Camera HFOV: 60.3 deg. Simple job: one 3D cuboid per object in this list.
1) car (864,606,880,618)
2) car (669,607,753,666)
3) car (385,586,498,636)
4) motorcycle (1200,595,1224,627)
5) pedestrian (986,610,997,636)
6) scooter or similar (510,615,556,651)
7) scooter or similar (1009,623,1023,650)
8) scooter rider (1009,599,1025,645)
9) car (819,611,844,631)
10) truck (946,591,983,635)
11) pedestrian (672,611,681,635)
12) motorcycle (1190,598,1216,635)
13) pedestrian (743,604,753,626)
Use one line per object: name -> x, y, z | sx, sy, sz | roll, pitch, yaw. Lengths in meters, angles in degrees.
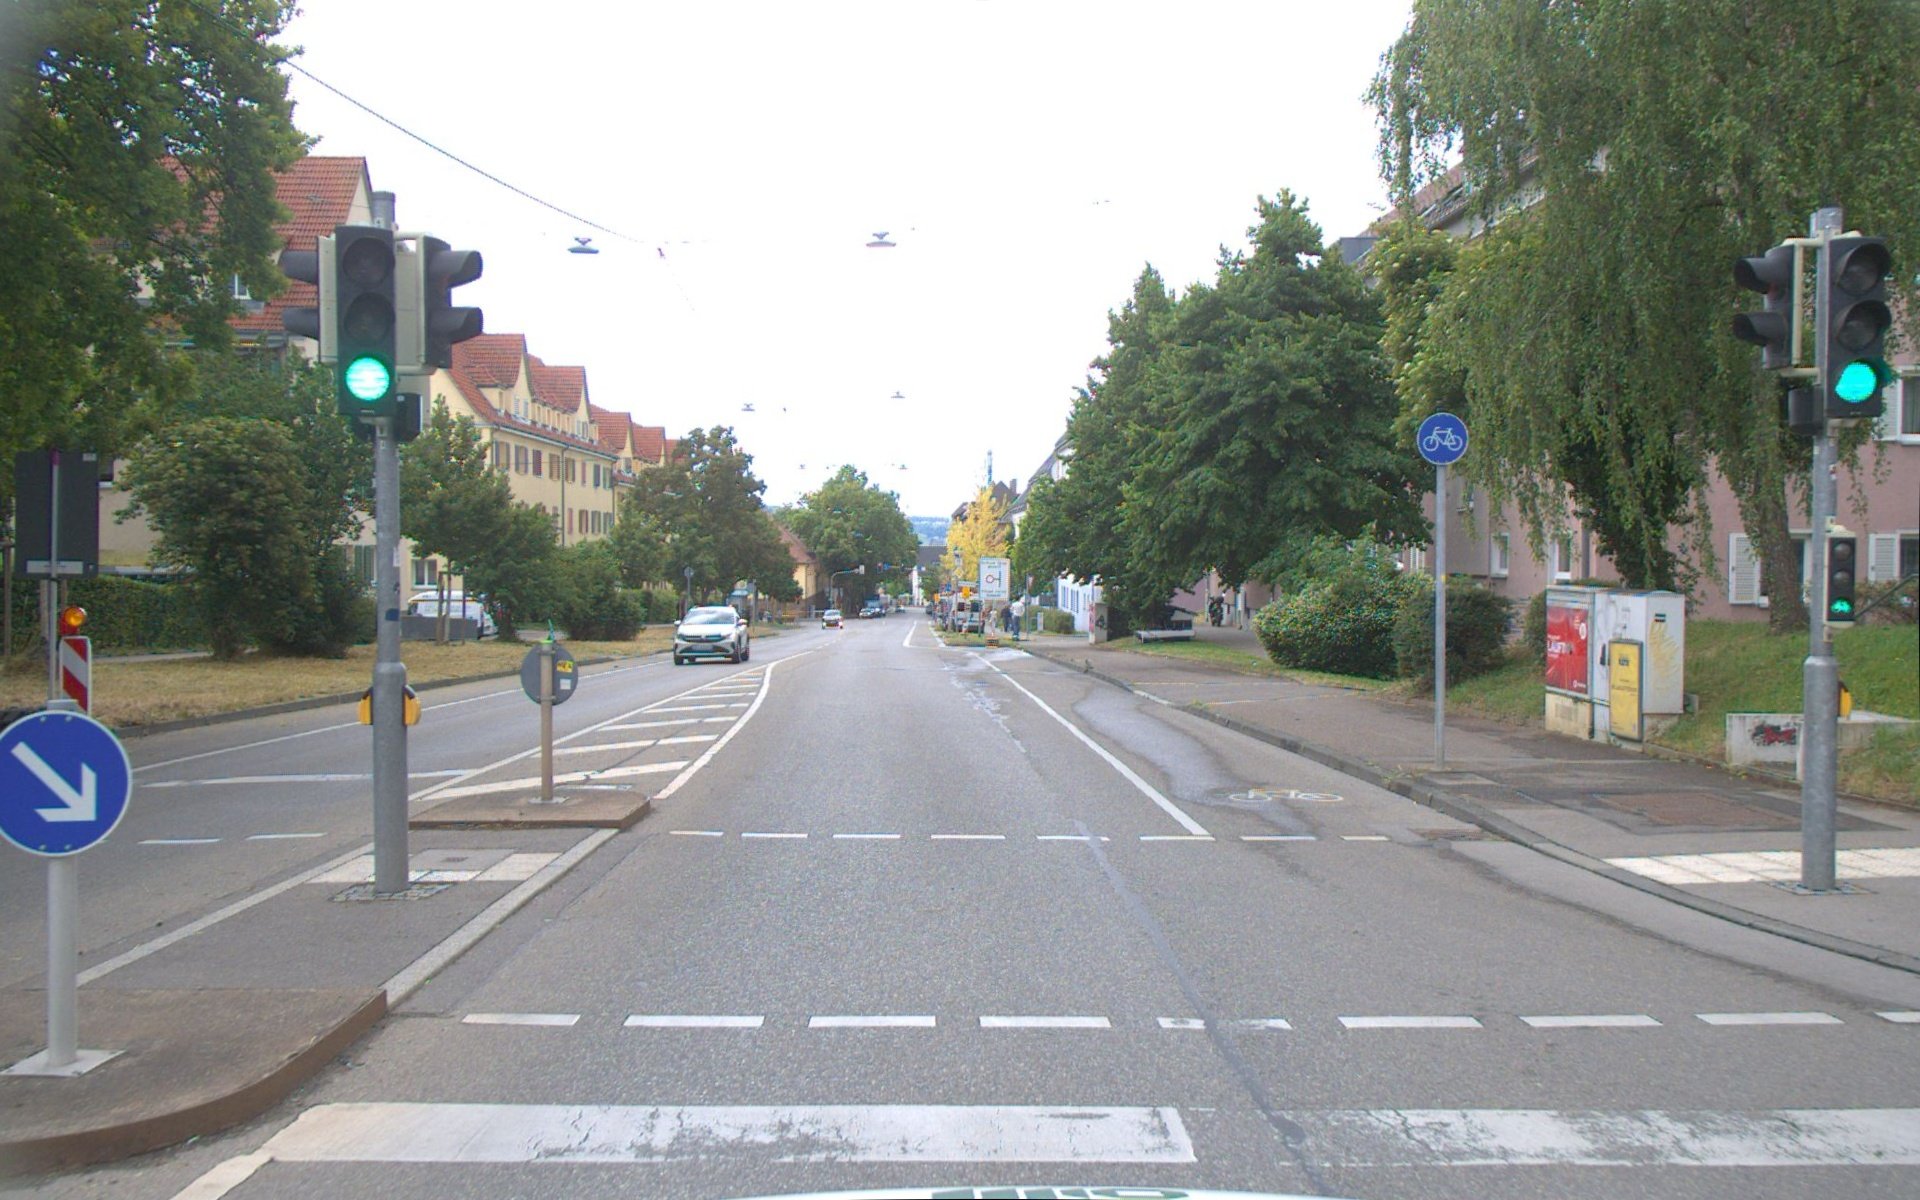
car -> -11.130, 1.502, 209.725 | 1.720, 1.498, 4.307 | -1, 0, 2
car -> -6.655, 0.950, 44.557 | 1.766, 1.489, 4.027 | -1, 0, -2
car -> -24.075, 0.529, 76.879 | 4.622, 2.293, 1.994 | 0, -1, -1
motorcycle -> 10.051, 0.452, 66.103 | 0.578, 1.249, 1.966 | 1, 0, -2
pedestrian -> 2.068, 1.509, 107.620 | 0.567, 1.673, 0.559 | 0, -2, -16
scooter or similar -> -13.408, 1.034, 51.995 | 1.343, 1.105, 0.466 | 0, 0, -6
scooter or similar -> 2.484, 1.619, 73.779 | 0.481, 1.183, 2.074 | 1, 0, -2
scooter rider -> 2.541, 0.978, 73.835 | 0.613, 2.049, 0.757 | 1, 0, -2
car -> -11.031, 1.764, 142.605 | 1.861, 1.648, 4.360 | 1, 0, -1
truck -> 0.246, 0.801, 101.344 | 2.011, 2.610, 5.686 | 1, 0, -3
pedestrian -> -20.946, 1.691, 122.316 | 0.503, 1.811, 0.753 | 1, 0, -2
motorcycle -> 10.657, 0.727, 72.687 | 0.716, 1.596, 2.550 | 1, 0, -1
pedestrian -> -16.899, 1.215, 131.716 | 0.585, 1.757, 0.861 | 1, -1, 1
